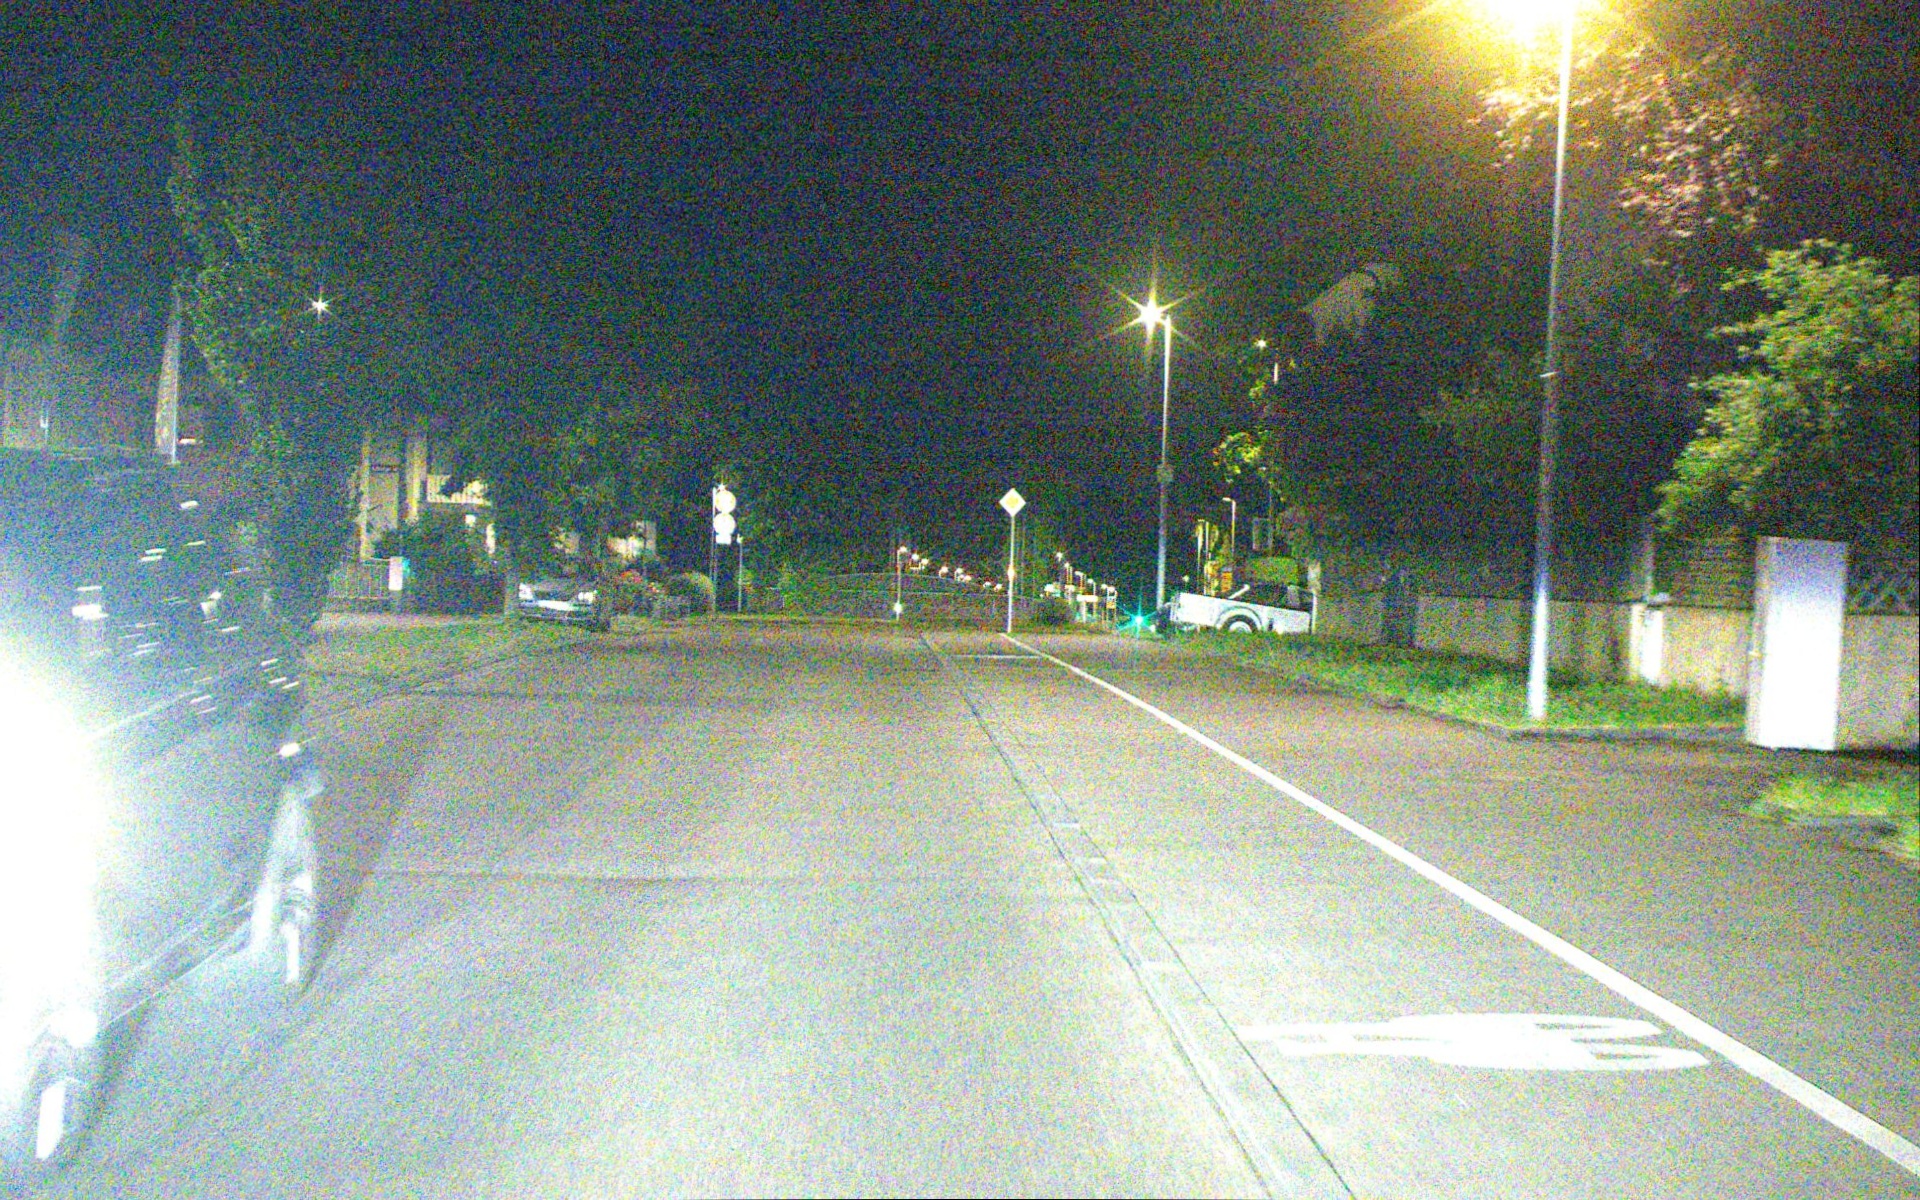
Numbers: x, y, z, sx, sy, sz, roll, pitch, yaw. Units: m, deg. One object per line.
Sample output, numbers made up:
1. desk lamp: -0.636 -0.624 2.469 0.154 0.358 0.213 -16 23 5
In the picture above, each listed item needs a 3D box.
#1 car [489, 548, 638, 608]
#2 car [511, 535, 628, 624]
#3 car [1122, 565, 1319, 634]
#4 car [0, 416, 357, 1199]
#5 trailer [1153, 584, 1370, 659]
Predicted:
1. car: -11.093 -0.612 96.275 3.716 1.621 1.781 1 0 18
2. car: -7.447 -0.398 65.804 1.672 1.585 3.987 2 1 1
3. car: 4.719 -0.014 62.594 3.391 1.228 1.725 0 1 -3
4. car: -3.019 0.436 9.225 2.003 1.742 4.558 1 1 0
5. trailer: 5.111 0.353 58.626 3.432 0.999 1.954 4 0 -1
